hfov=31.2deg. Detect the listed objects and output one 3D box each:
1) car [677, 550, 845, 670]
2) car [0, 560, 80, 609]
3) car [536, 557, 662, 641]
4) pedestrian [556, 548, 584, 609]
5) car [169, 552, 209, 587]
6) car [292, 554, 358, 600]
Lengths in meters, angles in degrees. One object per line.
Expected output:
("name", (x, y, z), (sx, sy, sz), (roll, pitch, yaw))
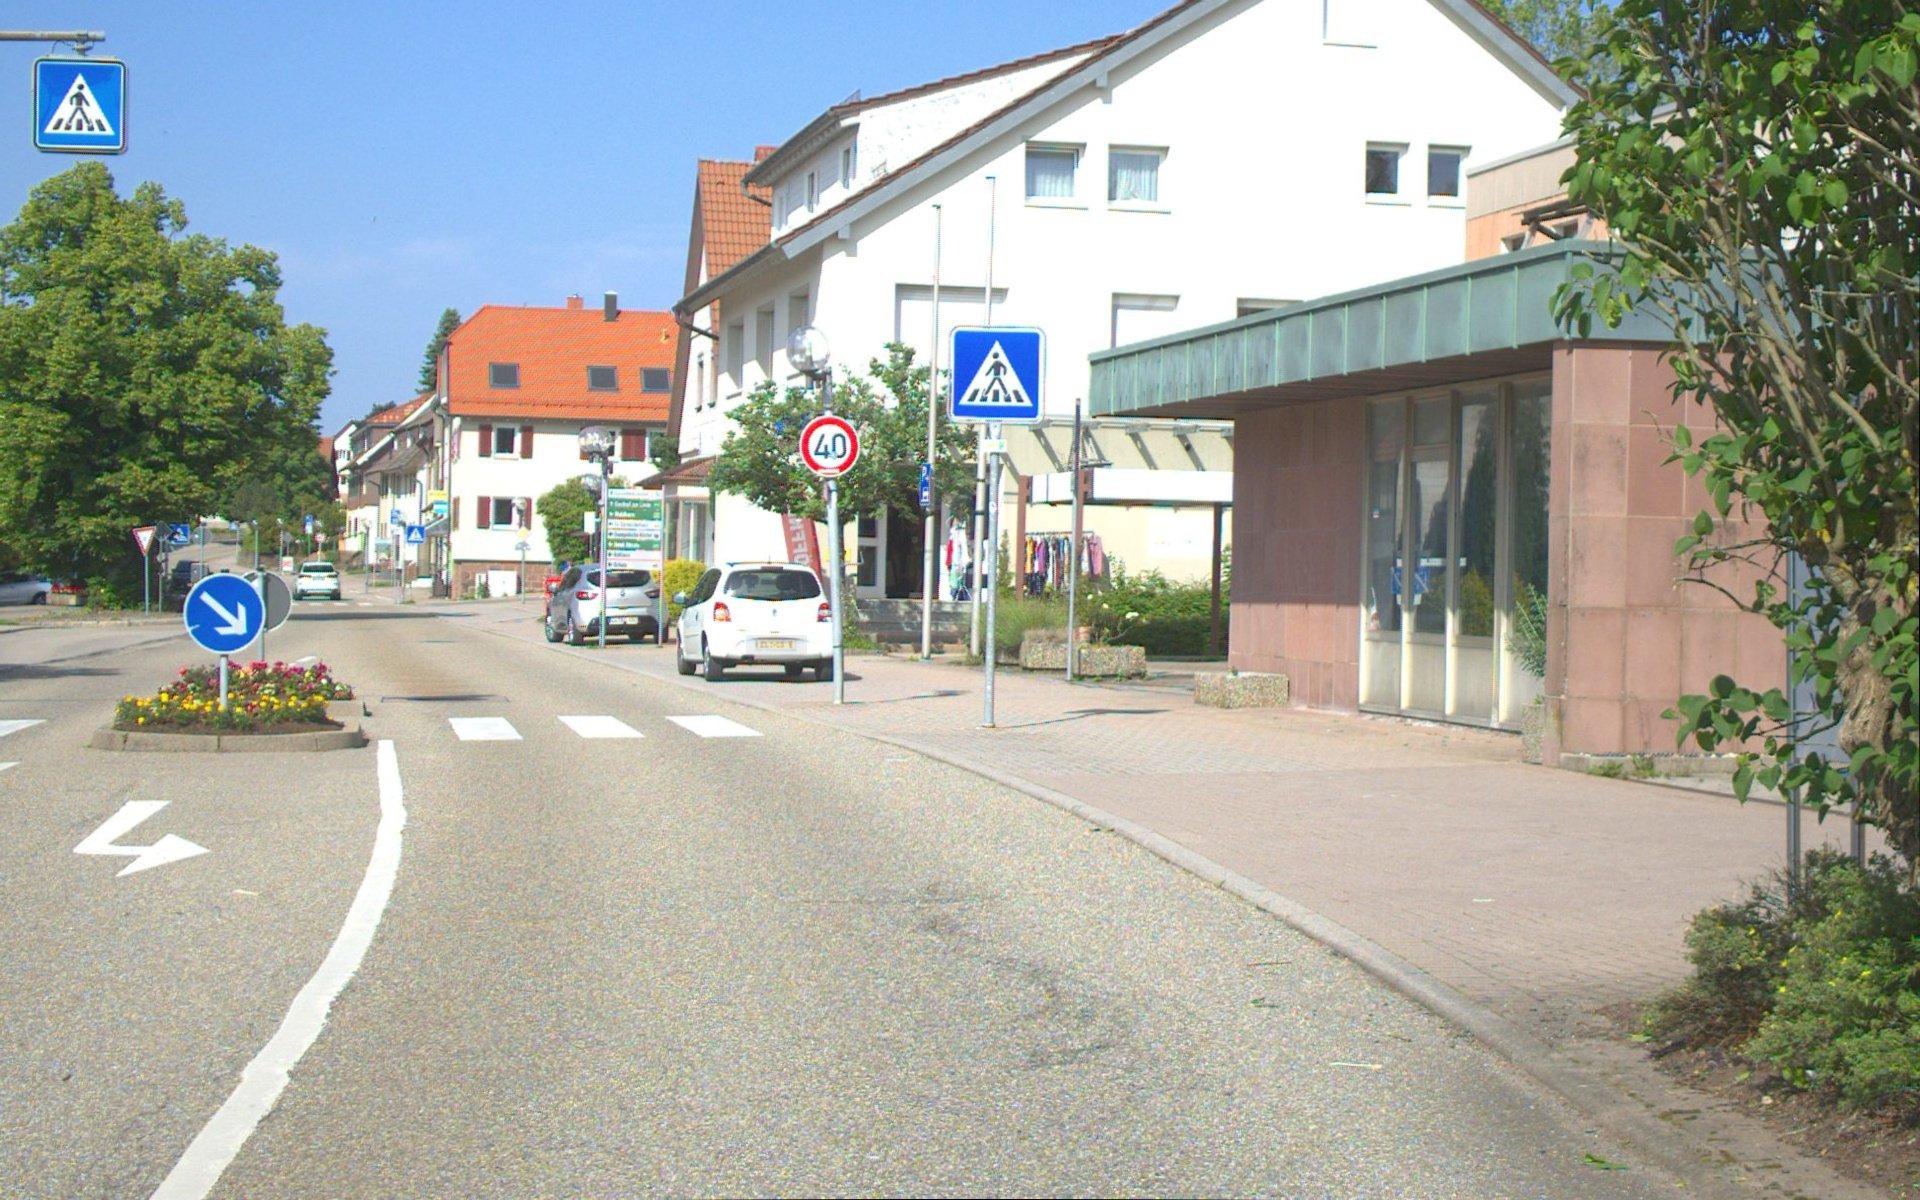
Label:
("car", (-2.555, 0.096, 43.516), (1.760, 1.418, 3.635), (-1, 1, -9))
("car", (-32.376, -0.515, 118.131), (3.759, 1.450, 1.817), (-2, -4, 1))
("car", (-6.500, -0.045, 61.553), (1.635, 1.415, 3.936), (-2, 1, -15))
("pedestrian", (-11.454, -0.638, 101.049), (0.799, 1.778, 0.980), (-1, 1, -6))
("car", (-36.770, -1.478, 164.033), (1.672, 1.528, 3.536), (5, 0, -12))
("car", (-28.833, -1.043, 155.960), (2.495, 2.007, 4.306), (-2, 1, -15))
